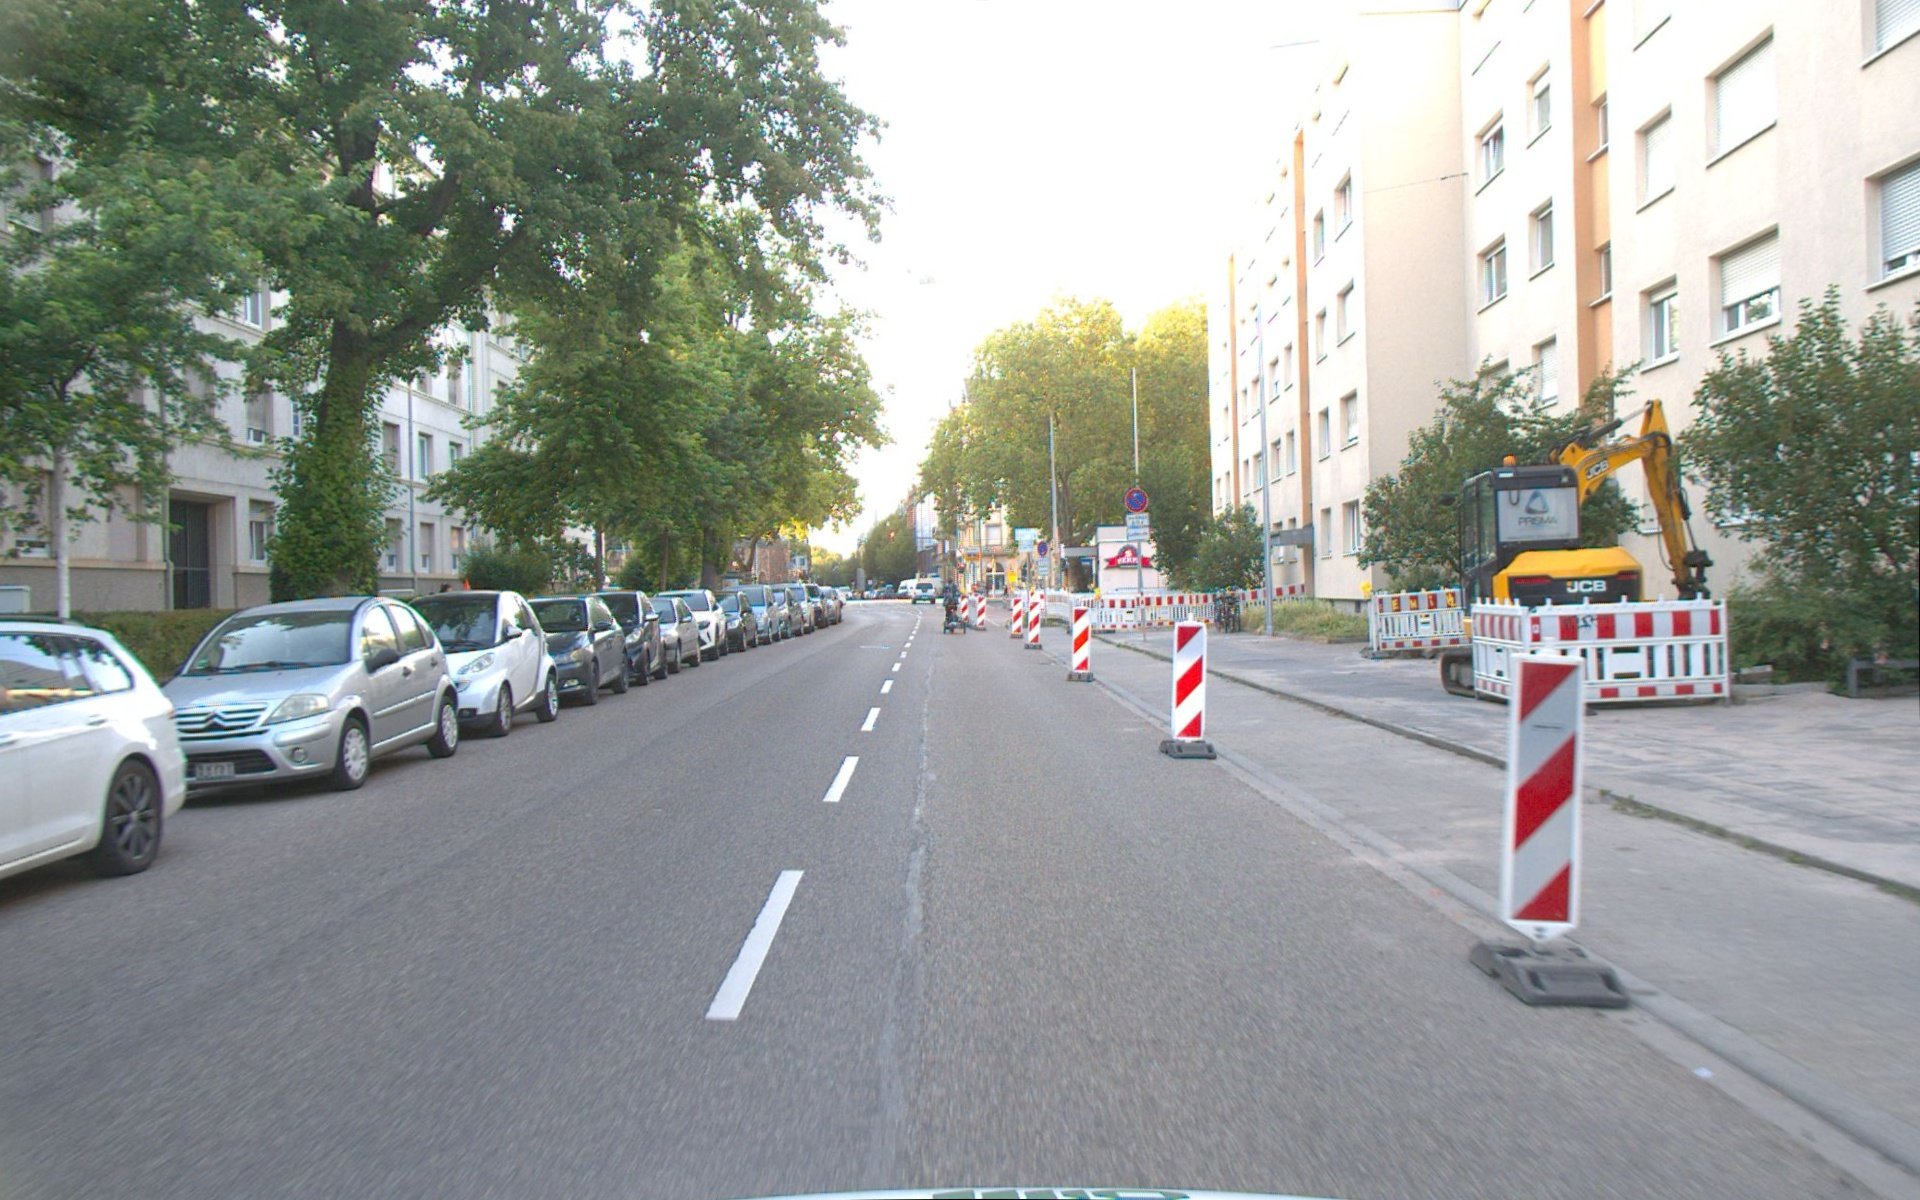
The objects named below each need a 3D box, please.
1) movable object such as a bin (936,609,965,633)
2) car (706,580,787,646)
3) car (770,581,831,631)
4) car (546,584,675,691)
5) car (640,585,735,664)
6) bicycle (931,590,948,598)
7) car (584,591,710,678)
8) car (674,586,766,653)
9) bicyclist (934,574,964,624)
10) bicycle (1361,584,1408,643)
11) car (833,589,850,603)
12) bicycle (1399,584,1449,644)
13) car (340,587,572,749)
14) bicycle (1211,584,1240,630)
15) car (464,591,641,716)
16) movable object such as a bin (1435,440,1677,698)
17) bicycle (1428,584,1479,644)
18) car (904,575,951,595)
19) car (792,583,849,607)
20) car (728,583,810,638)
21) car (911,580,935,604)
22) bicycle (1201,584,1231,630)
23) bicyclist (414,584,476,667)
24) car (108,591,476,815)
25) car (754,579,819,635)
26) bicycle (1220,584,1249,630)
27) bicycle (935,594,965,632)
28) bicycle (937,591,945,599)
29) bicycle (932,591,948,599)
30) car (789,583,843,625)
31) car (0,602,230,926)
[{"bbox_3d":[-0.313,0.677,54.218,0.920,0.701,0.993,-4,0,0],"label":"movable object such as a bin"},{"bbox_3d":[-5.882,0.338,45.906,1.673,1.628,4.116,-4,0,-1],"label":"car"},{"bbox_3d":[-6.052,0.203,63.386,1.914,1.748,4.769,-3,0,-2],"label":"car"},{"bbox_3d":[-5.748,0.579,27.515,1.493,1.555,3.163,-4,0,-2],"label":"car"},{"bbox_3d":[-6.040,0.513,37.053,1.559,1.565,4.204,-4,0,-3],"label":"car"},{"bbox_3d":[-2.357,-0.697,191.226,1.876,0.985,0.545,-1,0,-3],"label":"bicycle"},{"bbox_3d":[-5.907,0.606,31.631,1.558,1.428,4.180,-4,0,-1],"label":"car"},{"bbox_3d":[-5.954,0.449,41.450,1.673,1.477,3.842,-4,0,-1],"label":"car"},{"bbox_3d":[-0.369,-0.040,55.740,0.920,1.609,1.146,-4,0,0],"label":"bicyclist"},{"bbox_3d":[8.828,0.266,34.446,0.544,1.192,1.817,-1,0,2],"label":"bicycle"},{"bbox_3d":[-14.454,-0.490,201.831,1.748,1.680,3.813,0,0,-9],"label":"car"},{"bbox_3d":[9.546,0.270,34.062,0.544,1.192,1.817,-1,0,2],"label":"bicycle"},{"bbox_3d":[-5.560,0.690,18.574,1.557,1.555,2.922,-4,0,1],"label":"car"},{"bbox_3d":[7.406,0.193,46.208,0.390,1.243,1.910,-1,0,-3],"label":"bicycle"},{"bbox_3d":[-5.656,0.678,23.405,1.559,1.491,4.100,-4,0,-3],"label":"car"},{"bbox_3d":[6.864,-0.343,19.355,1.893,2.740,2.893,-1,0,4],"label":"movable object such as a bin"},{"bbox_3d":[10.134,0.271,34.023,0.544,1.192,1.817,-1,0,2],"label":"bicycle"},{"bbox_3d":[-3.873,-1.784,197.566,5.779,2.328,2.039,-2,1,-44],"label":"car"},{"bbox_3d":[-10.226,-0.367,121.634,3.904,1.613,1.873,-2,0,2],"label":"car"},{"bbox_3d":[-5.799,0.290,50.675,1.696,1.523,4.272,-3,0,3],"label":"car"},{"bbox_3d":[-3.074,-0.651,135.185,1.829,1.846,3.998,-2,0,-2],"label":"car"},{"bbox_3d":[7.138,0.193,46.112,0.442,1.243,1.910,-1,0,-3],"label":"bicycle"},{"bbox_3d":[-9.112,0.442,29.302,0.792,1.428,0.973,-1,0,-1],"label":"bicyclist"},{"bbox_3d":[-5.481,0.746,14.100,1.558,1.531,3.798,-4,0,-1],"label":"car"},{"bbox_3d":[-5.835,0.225,56.136,1.810,1.720,4.856,-3,0,-3],"label":"car"},{"bbox_3d":[7.653,0.193,46.146,0.390,1.243,1.825,-1,0,-3],"label":"bicycle"},{"bbox_3d":[-0.337,0.433,55.890,0.920,1.192,2.358,-4,0,0],"label":"bicycle"},{"bbox_3d":[-2.220,-0.583,193.513,0.532,0.985,1.923,-1,0,13],"label":"bicycle"},{"bbox_3d":[-2.328,-0.580,191.363,1.876,0.985,0.545,-1,0,-3],"label":"bicycle"},{"bbox_3d":[-6.162,0.137,71.224,1.914,1.645,4.604,-3,0,-1],"label":"car"},{"bbox_3d":[-5.322,0.830,7.896,1.658,1.485,4.482,-4,0,-1],"label":"car"}]
